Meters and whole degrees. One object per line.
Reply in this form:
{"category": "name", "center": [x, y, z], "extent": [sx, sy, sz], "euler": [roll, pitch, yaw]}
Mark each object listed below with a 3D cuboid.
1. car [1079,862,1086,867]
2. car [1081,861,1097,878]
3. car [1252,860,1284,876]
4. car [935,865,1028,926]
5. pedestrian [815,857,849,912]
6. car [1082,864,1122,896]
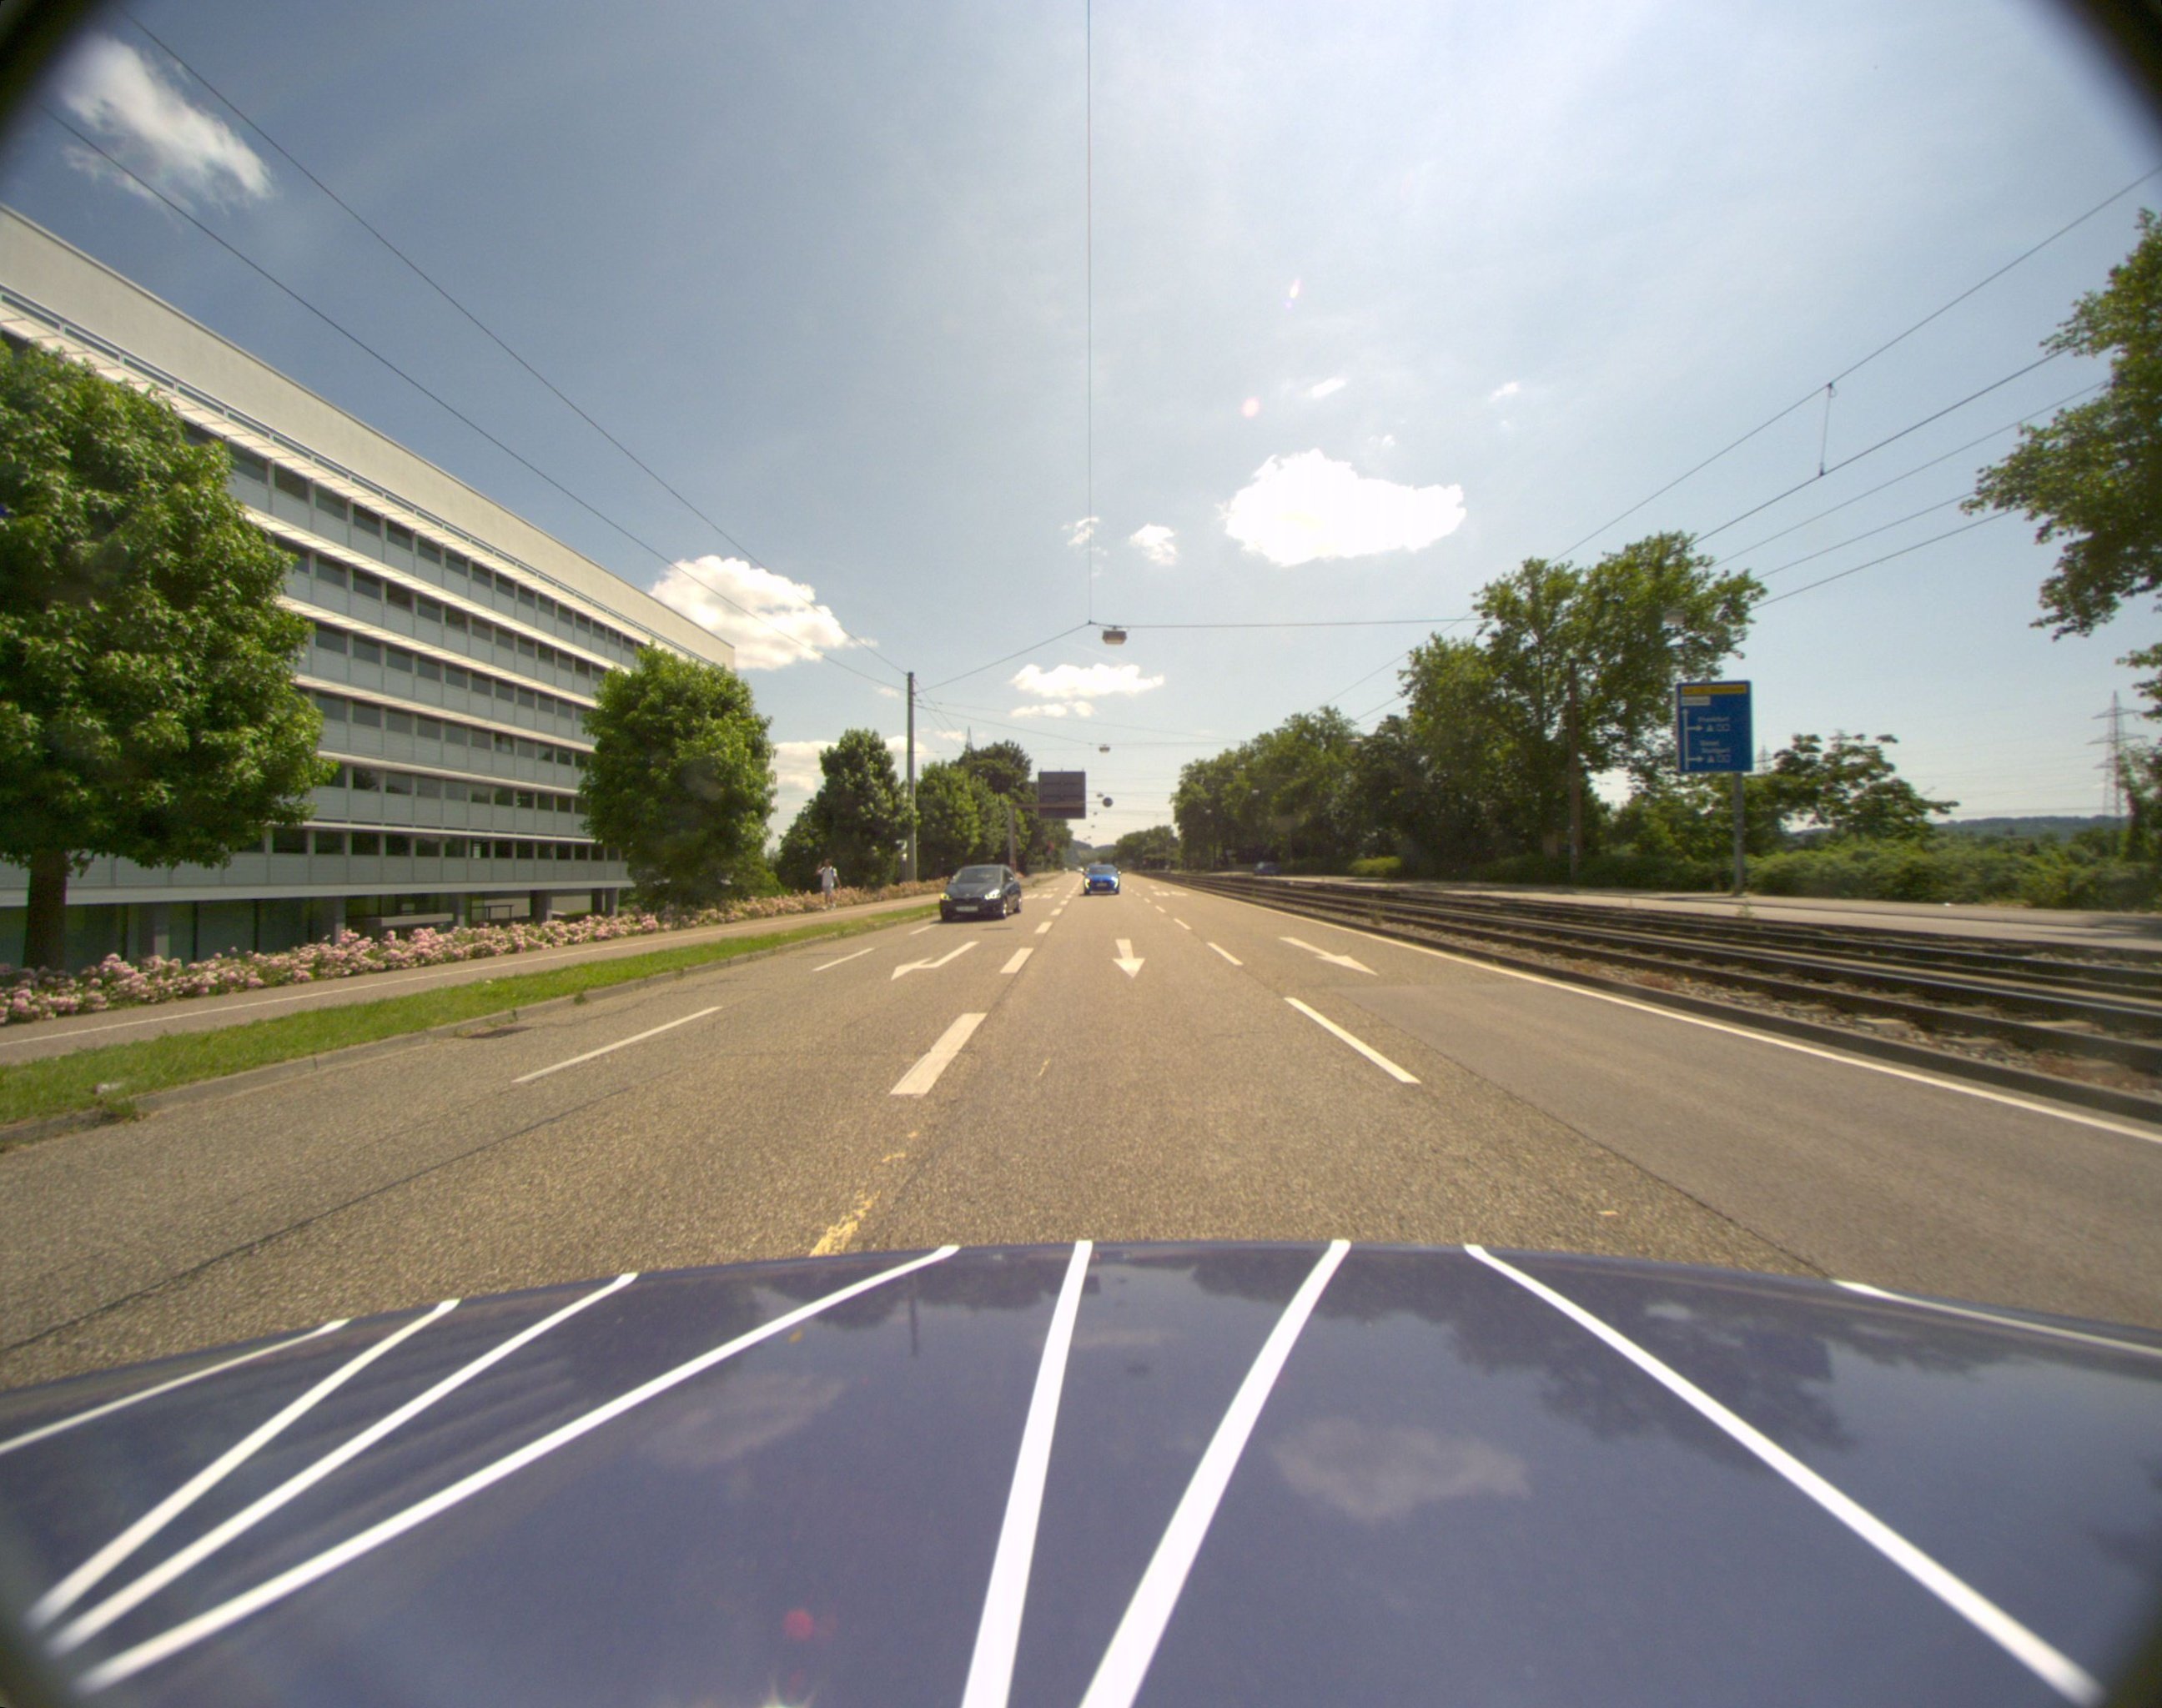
{"category": "car", "center": [0.450, 2.923, 207.553], "extent": [1.896, 1.331, 4.000], "euler": [-2, 0, 1]}
{"category": "car", "center": [1.059, 2.002, 99.745], "extent": [1.998, 2.001, 4.000], "euler": [-3, 0, 1]}
{"category": "car", "center": [18.205, 1.300, 74.187], "extent": [1.803, 1.495, 4.735], "euler": [1, 0, -1]}
{"category": "car", "center": [-2.826, 1.142, 22.404], "extent": [1.764, 1.517, 4.101], "euler": [-2, 0, 6]}
{"category": "pedestrian", "center": [-8.569, 1.040, 26.209], "extent": [0.758, 1.838, 0.931], "euler": [-2, 0, 3]}
{"category": "car", "center": [1.017, 1.231, 36.756], "extent": [1.842, 1.446, 4.001], "euler": [-1, -1, 1]}
